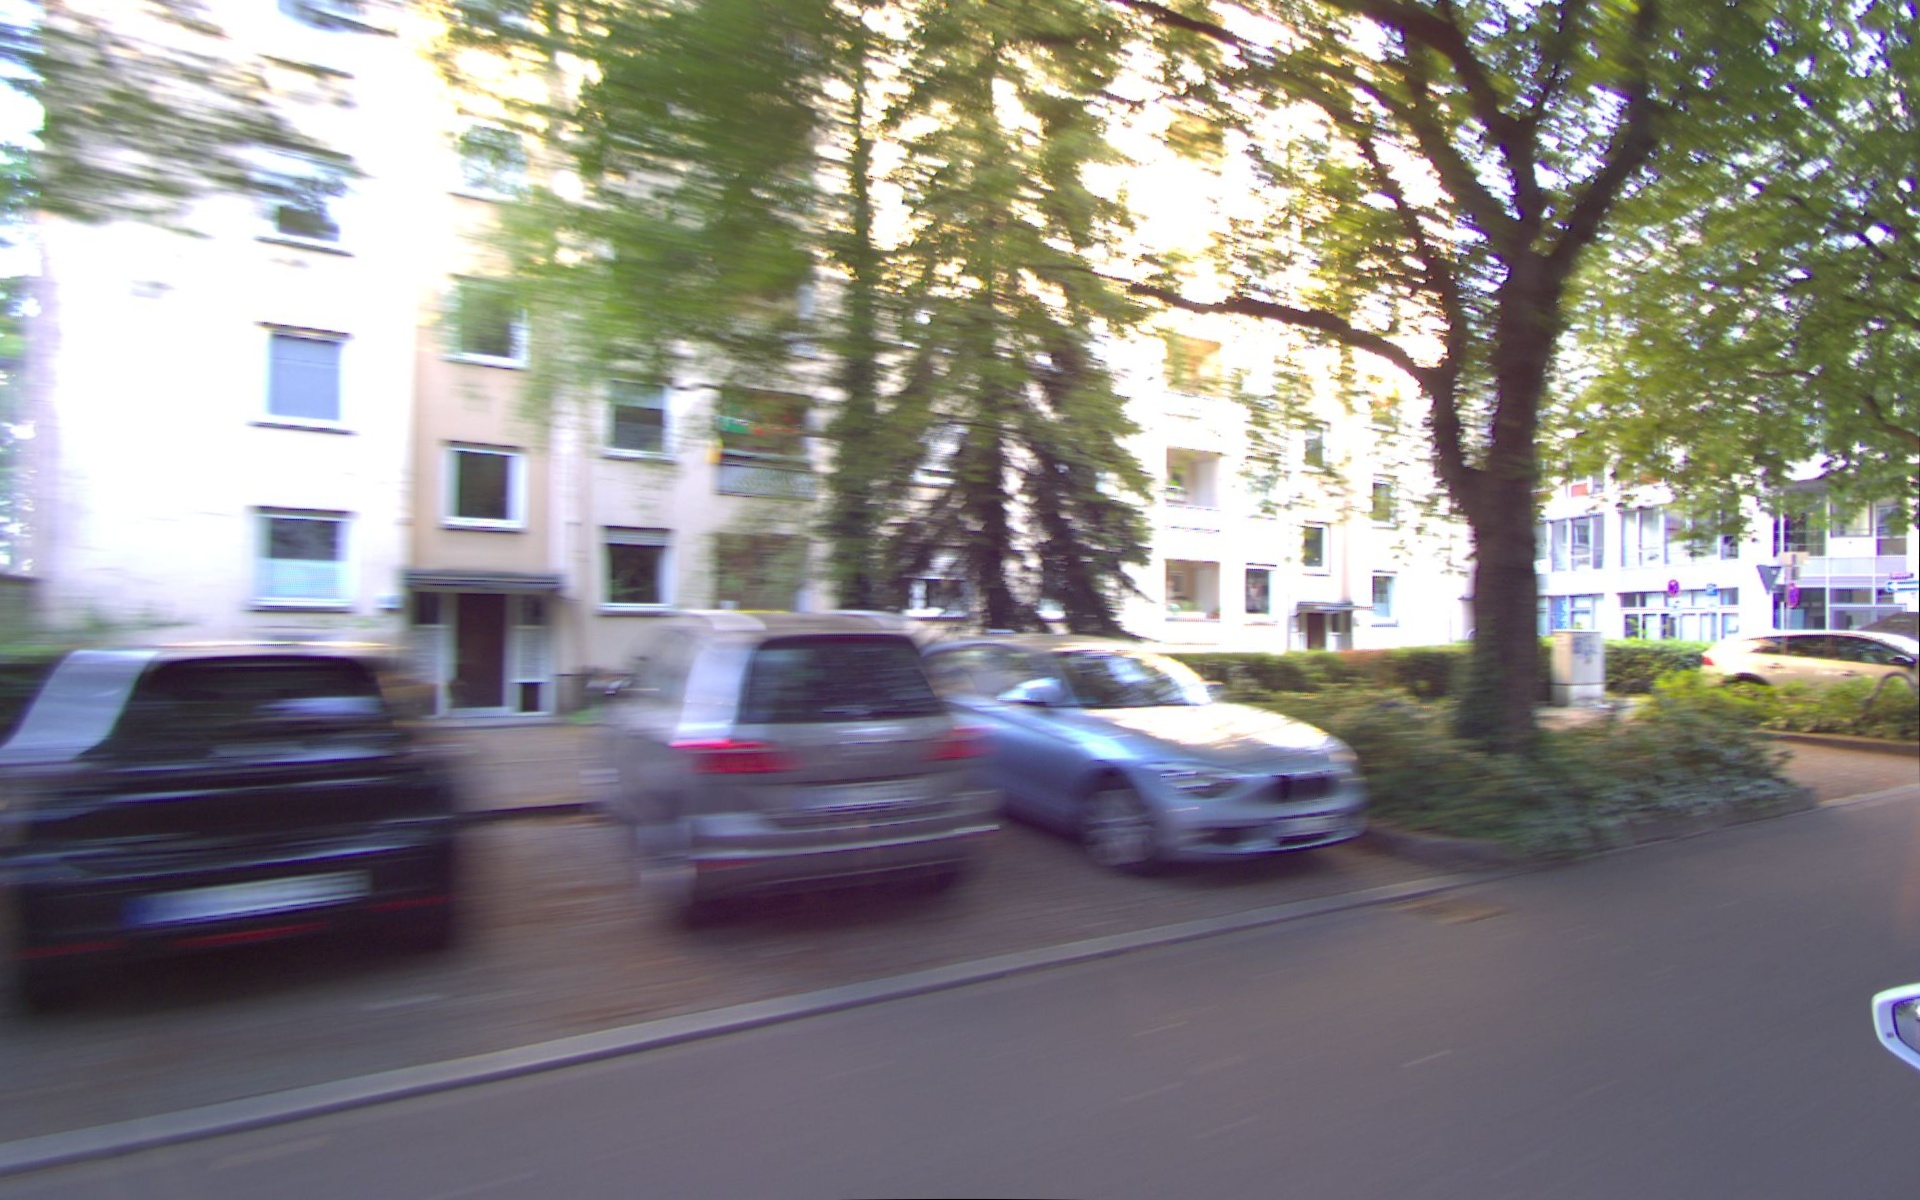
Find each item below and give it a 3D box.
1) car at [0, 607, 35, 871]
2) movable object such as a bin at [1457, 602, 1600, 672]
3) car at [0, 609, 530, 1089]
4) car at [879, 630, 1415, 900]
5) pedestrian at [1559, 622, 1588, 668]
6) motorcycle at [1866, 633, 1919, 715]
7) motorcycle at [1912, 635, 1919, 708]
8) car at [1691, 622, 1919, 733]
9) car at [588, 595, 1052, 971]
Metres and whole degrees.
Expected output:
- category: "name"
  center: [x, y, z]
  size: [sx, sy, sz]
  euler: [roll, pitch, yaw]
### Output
- category: "car"
  center: [-5.492, 0.745, 3.976]
  size: [1.901, 1.483, 3.966]
  euler: [1, -1, -31]
- category: "movable object such as a bin"
  center: [23.799, 1.523, 42.378]
  size: [2.243, 2.728, 5.640]
  euler: [0, -1, -9]
- category: "car"
  center: [-3.530, 0.824, 5.200]
  size: [1.805, 1.510, 3.965]
  euler: [1, -1, -32]
- category: "car"
  center: [1.107, 0.991, 7.914]
  size: [1.857, 1.448, 4.268]
  euler: [1, -1, -30]
- category: "pedestrian"
  center: [25.760, 1.884, 42.192]
  size: [0.873, 1.875, 0.876]
  euler: [0, -1, 21]
- category: "motorcycle"
  center: [17.586, 1.320, 17.562]
  size: [0.899, 1.439, 2.443]
  euler: [1, -2, -28]
- category: "motorcycle"
  center: [19.259, 1.384, 18.769]
  size: [0.835, 1.439, 2.255]
  euler: [1, -1, 1]
- category: "car"
  center: [14.425, 1.161, 15.564]
  size: [2.049, 1.573, 4.602]
  euler: [1, -1, -27]
- category: "car"
  center: [-1.220, 0.821, 6.466]
  size: [1.903, 1.586, 3.976]
  euler: [1, -1, -25]
